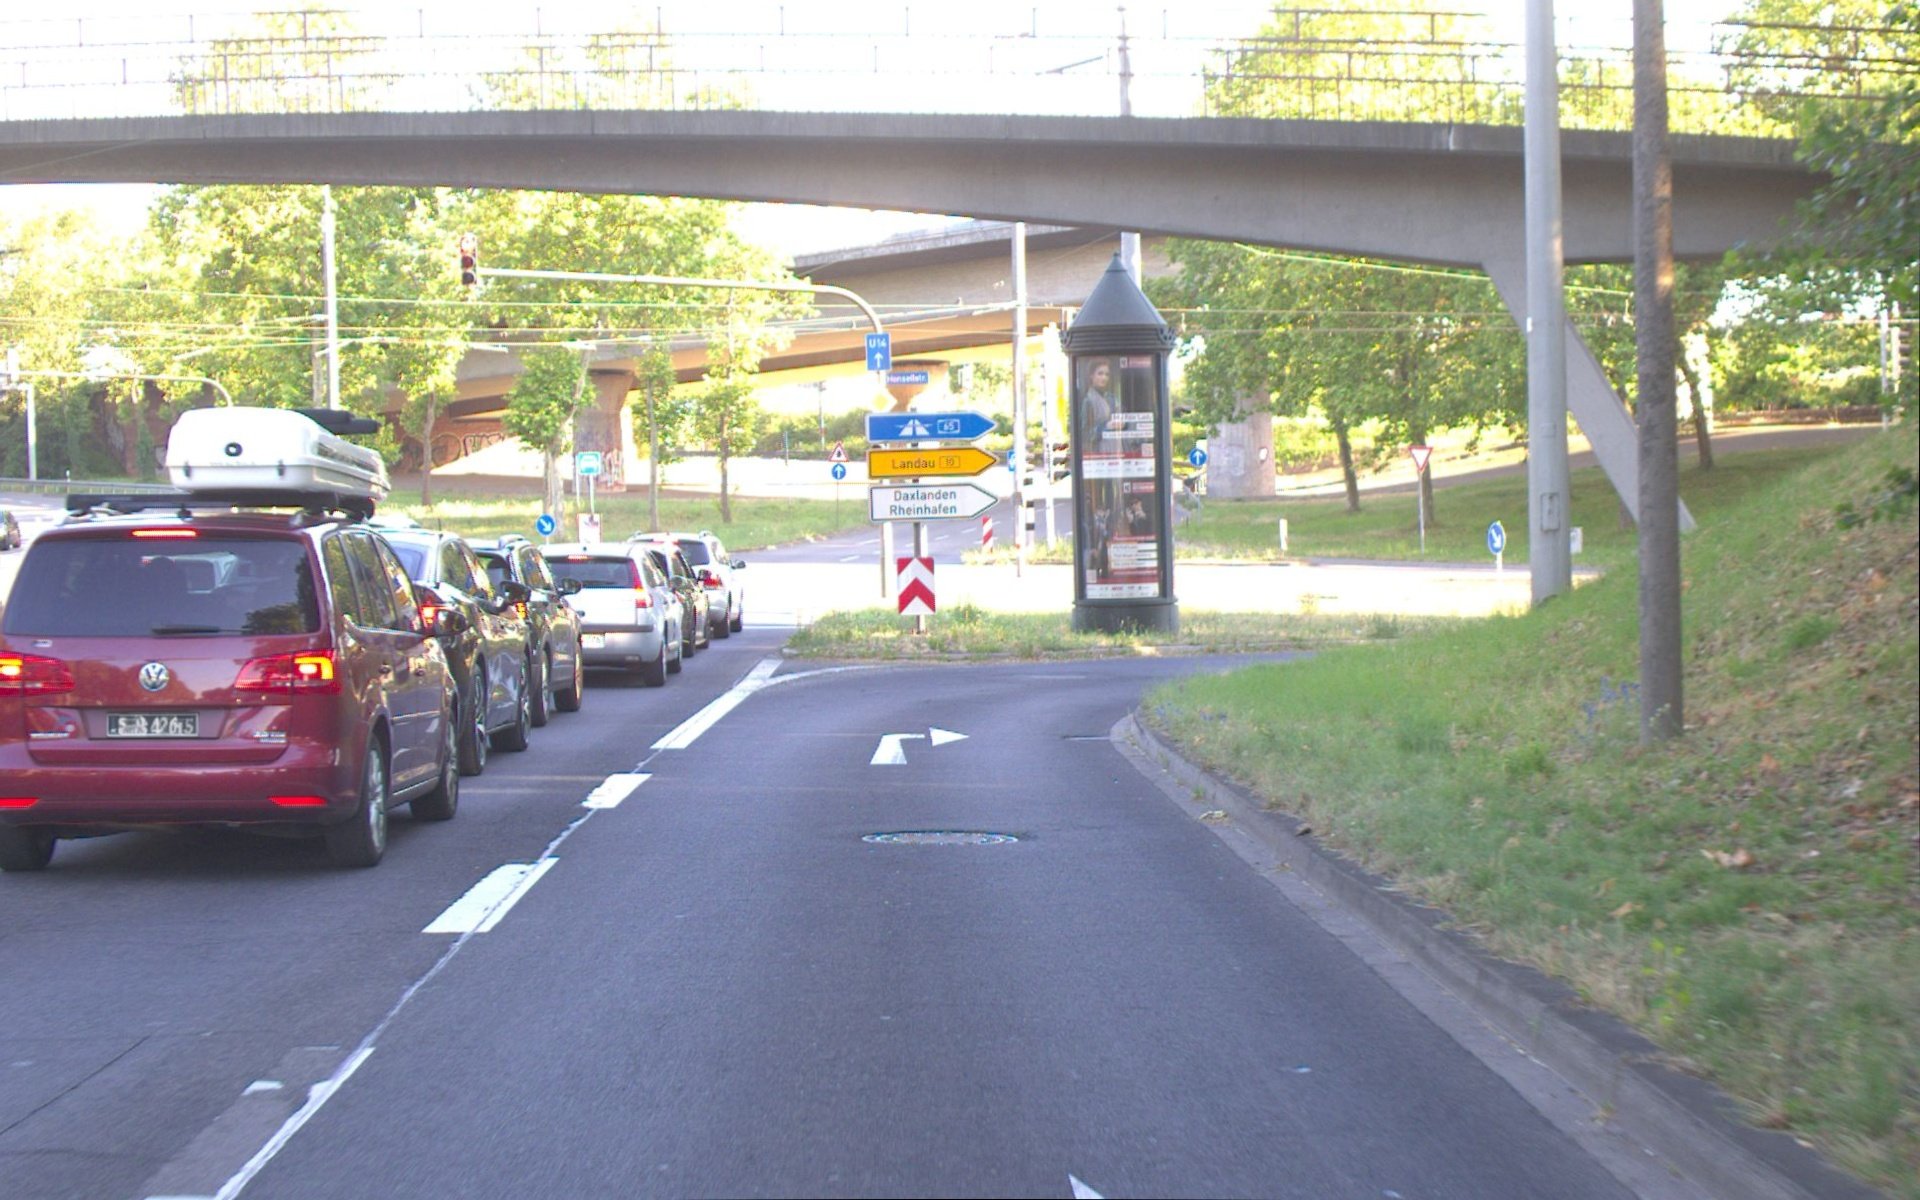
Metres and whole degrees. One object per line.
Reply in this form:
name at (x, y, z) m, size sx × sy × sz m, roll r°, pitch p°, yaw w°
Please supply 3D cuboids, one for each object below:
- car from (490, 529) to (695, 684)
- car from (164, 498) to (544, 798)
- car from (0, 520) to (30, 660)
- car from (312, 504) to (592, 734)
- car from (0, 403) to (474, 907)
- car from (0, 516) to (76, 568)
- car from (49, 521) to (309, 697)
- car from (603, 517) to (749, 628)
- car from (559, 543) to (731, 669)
car at (-3.902, 0.026, 37.070) m, size 1.792 × 1.476 × 4.001 m, roll -3°, pitch 2°, yaw -1°
car at (-3.932, 0.226, 22.982) m, size 1.792 × 1.744 × 4.241 m, roll -3°, pitch 2°, yaw -1°
car at (-11.598, -0.056, 37.794) m, size 1.662 × 1.560 × 4.001 m, roll -3°, pitch 2°, yaw -1°
car at (-4.253, 0.092, 29.333) m, size 1.792 × 1.744 × 4.001 m, roll -3°, pitch 2°, yaw -1°
car at (-3.546, 0.182, 16.762) m, size 1.792 × 2.098 × 4.001 m, roll -3°, pitch 2°, yaw -1°
car at (-32.278, -2.052, 120.134) m, size 1.878 × 1.765 × 4.001 m, roll 0°, pitch 2°, yaw -2°
car at (-7.754, 0.038, 34.490) m, size 1.662 × 1.560 × 4.191 m, roll -3°, pitch 2°, yaw -1°
car at (-4.074, -0.426, 49.769) m, size 1.792 × 1.437 × 4.001 m, roll -3°, pitch 2°, yaw -1°
car at (-3.940, 0.039, 43.611) m, size 1.792 × 1.378 × 4.477 m, roll -3°, pitch 2°, yaw -1°
